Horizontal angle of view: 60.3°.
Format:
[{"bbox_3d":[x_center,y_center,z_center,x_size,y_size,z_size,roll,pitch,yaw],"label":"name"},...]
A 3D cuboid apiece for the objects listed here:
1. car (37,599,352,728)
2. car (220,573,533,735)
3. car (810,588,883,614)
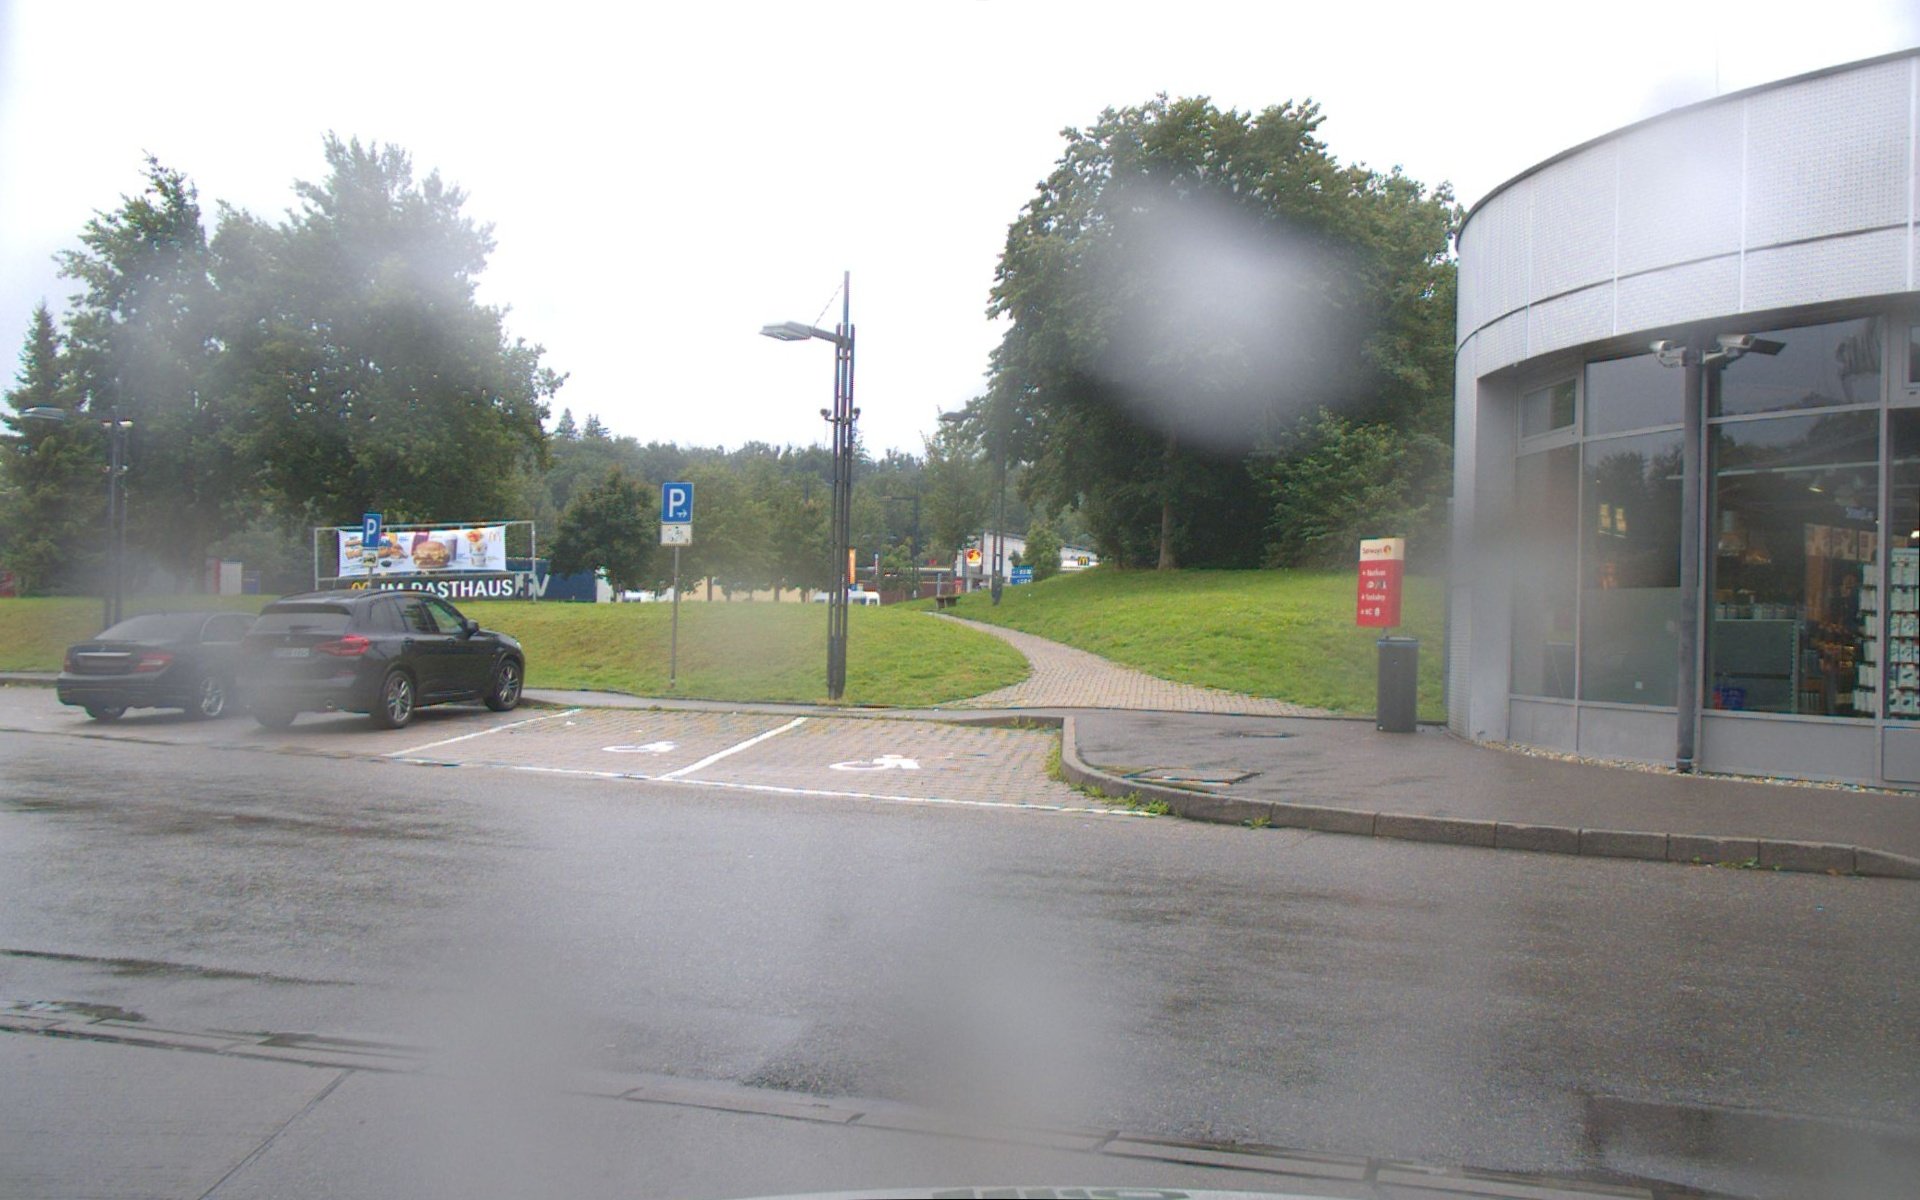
[{"bbox_3d":[-10.355,0.786,22.753,1.844,1.592,4.189,0,0,11],"label":"car"},{"bbox_3d":[-7.329,0.613,21.314,1.844,1.860,4.417,0,0,11],"label":"car"},{"bbox_3d":[-9.164,0.073,133.623,5.310,2.049,2.456,1,0,19],"label":"car"}]
